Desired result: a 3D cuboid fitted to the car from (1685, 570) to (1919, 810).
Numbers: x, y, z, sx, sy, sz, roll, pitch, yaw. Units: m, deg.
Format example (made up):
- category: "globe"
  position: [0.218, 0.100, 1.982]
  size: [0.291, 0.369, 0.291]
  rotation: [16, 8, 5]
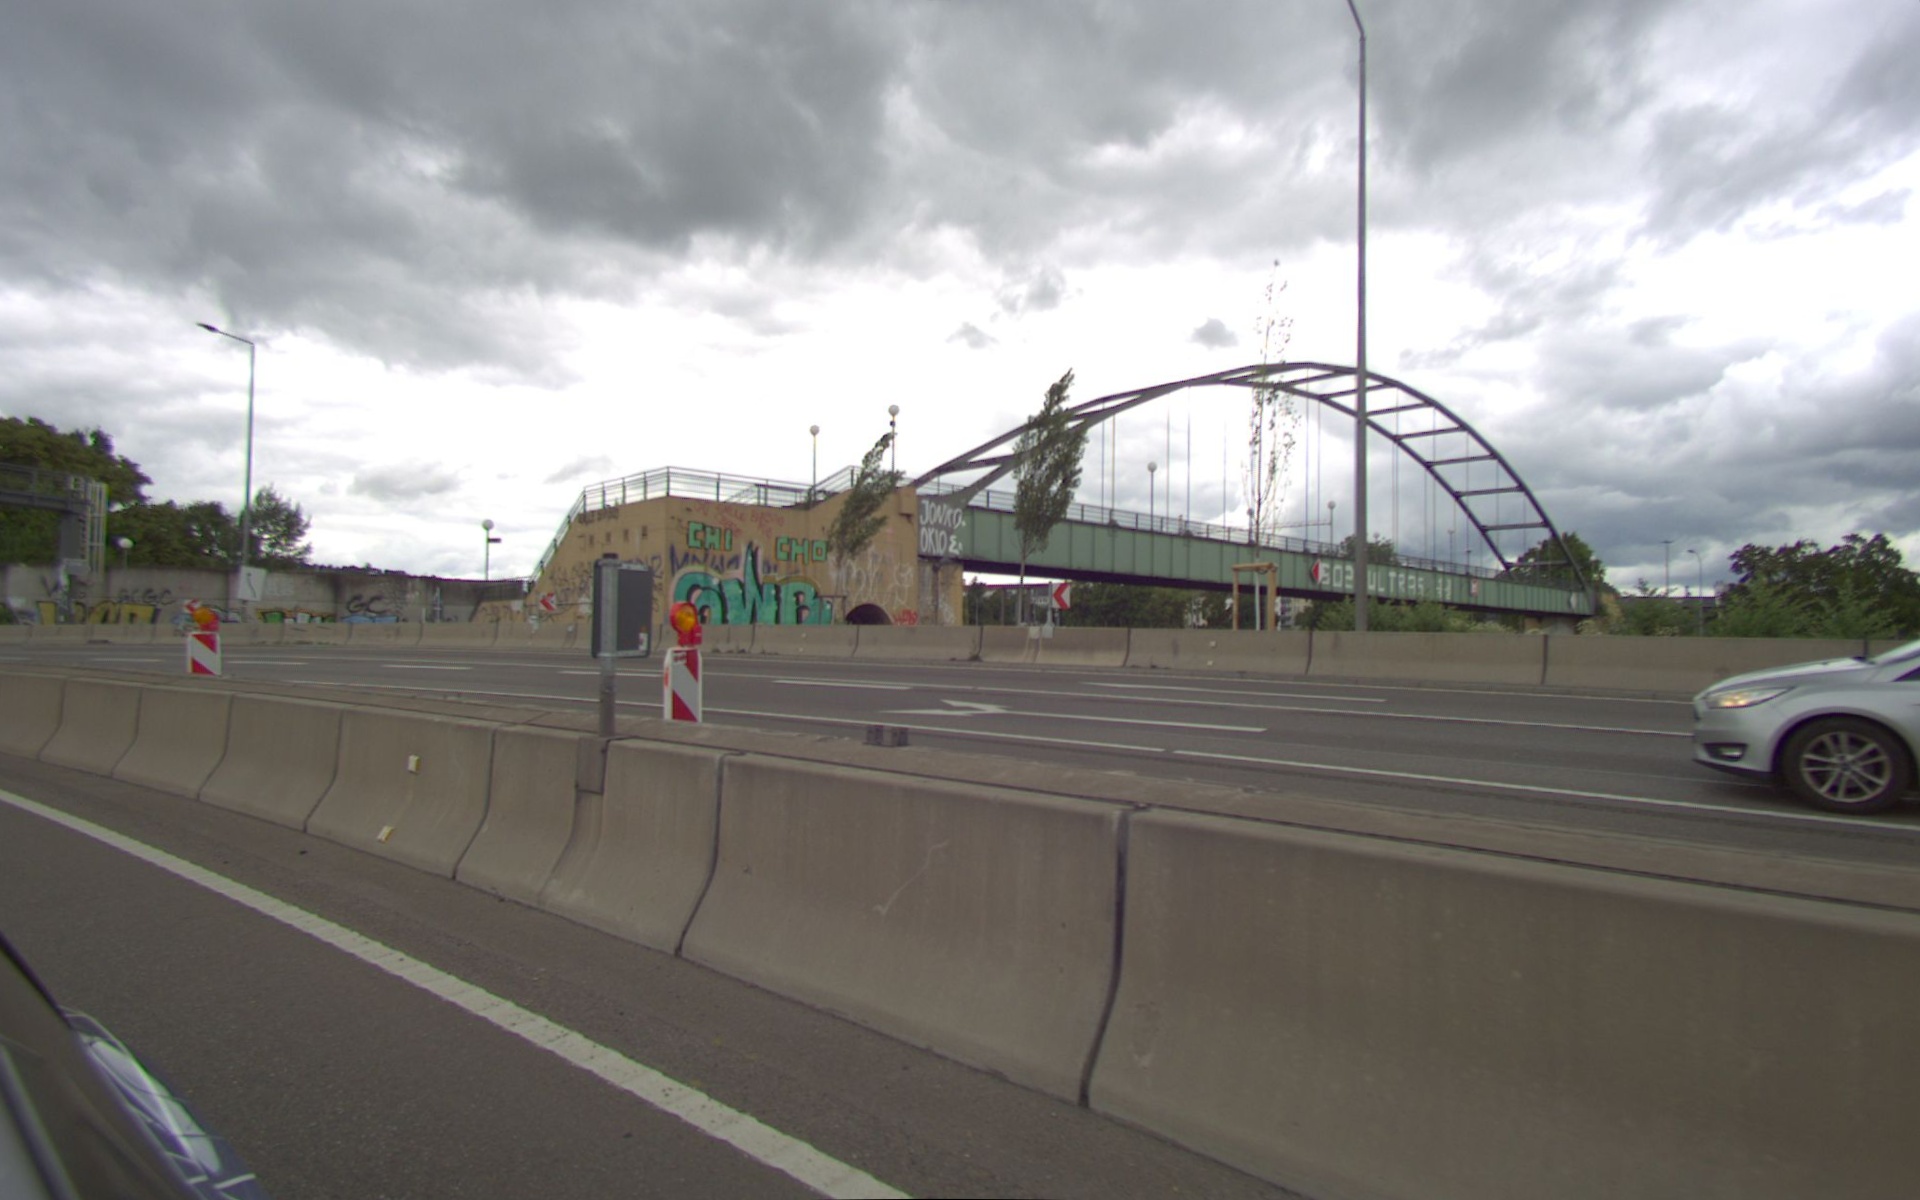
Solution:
- category: "car"
  position: [7.172, 0.510, 5.847]
  size: [4.650, 1.432, 1.774]
  rotation: [-1, -1, 44]
